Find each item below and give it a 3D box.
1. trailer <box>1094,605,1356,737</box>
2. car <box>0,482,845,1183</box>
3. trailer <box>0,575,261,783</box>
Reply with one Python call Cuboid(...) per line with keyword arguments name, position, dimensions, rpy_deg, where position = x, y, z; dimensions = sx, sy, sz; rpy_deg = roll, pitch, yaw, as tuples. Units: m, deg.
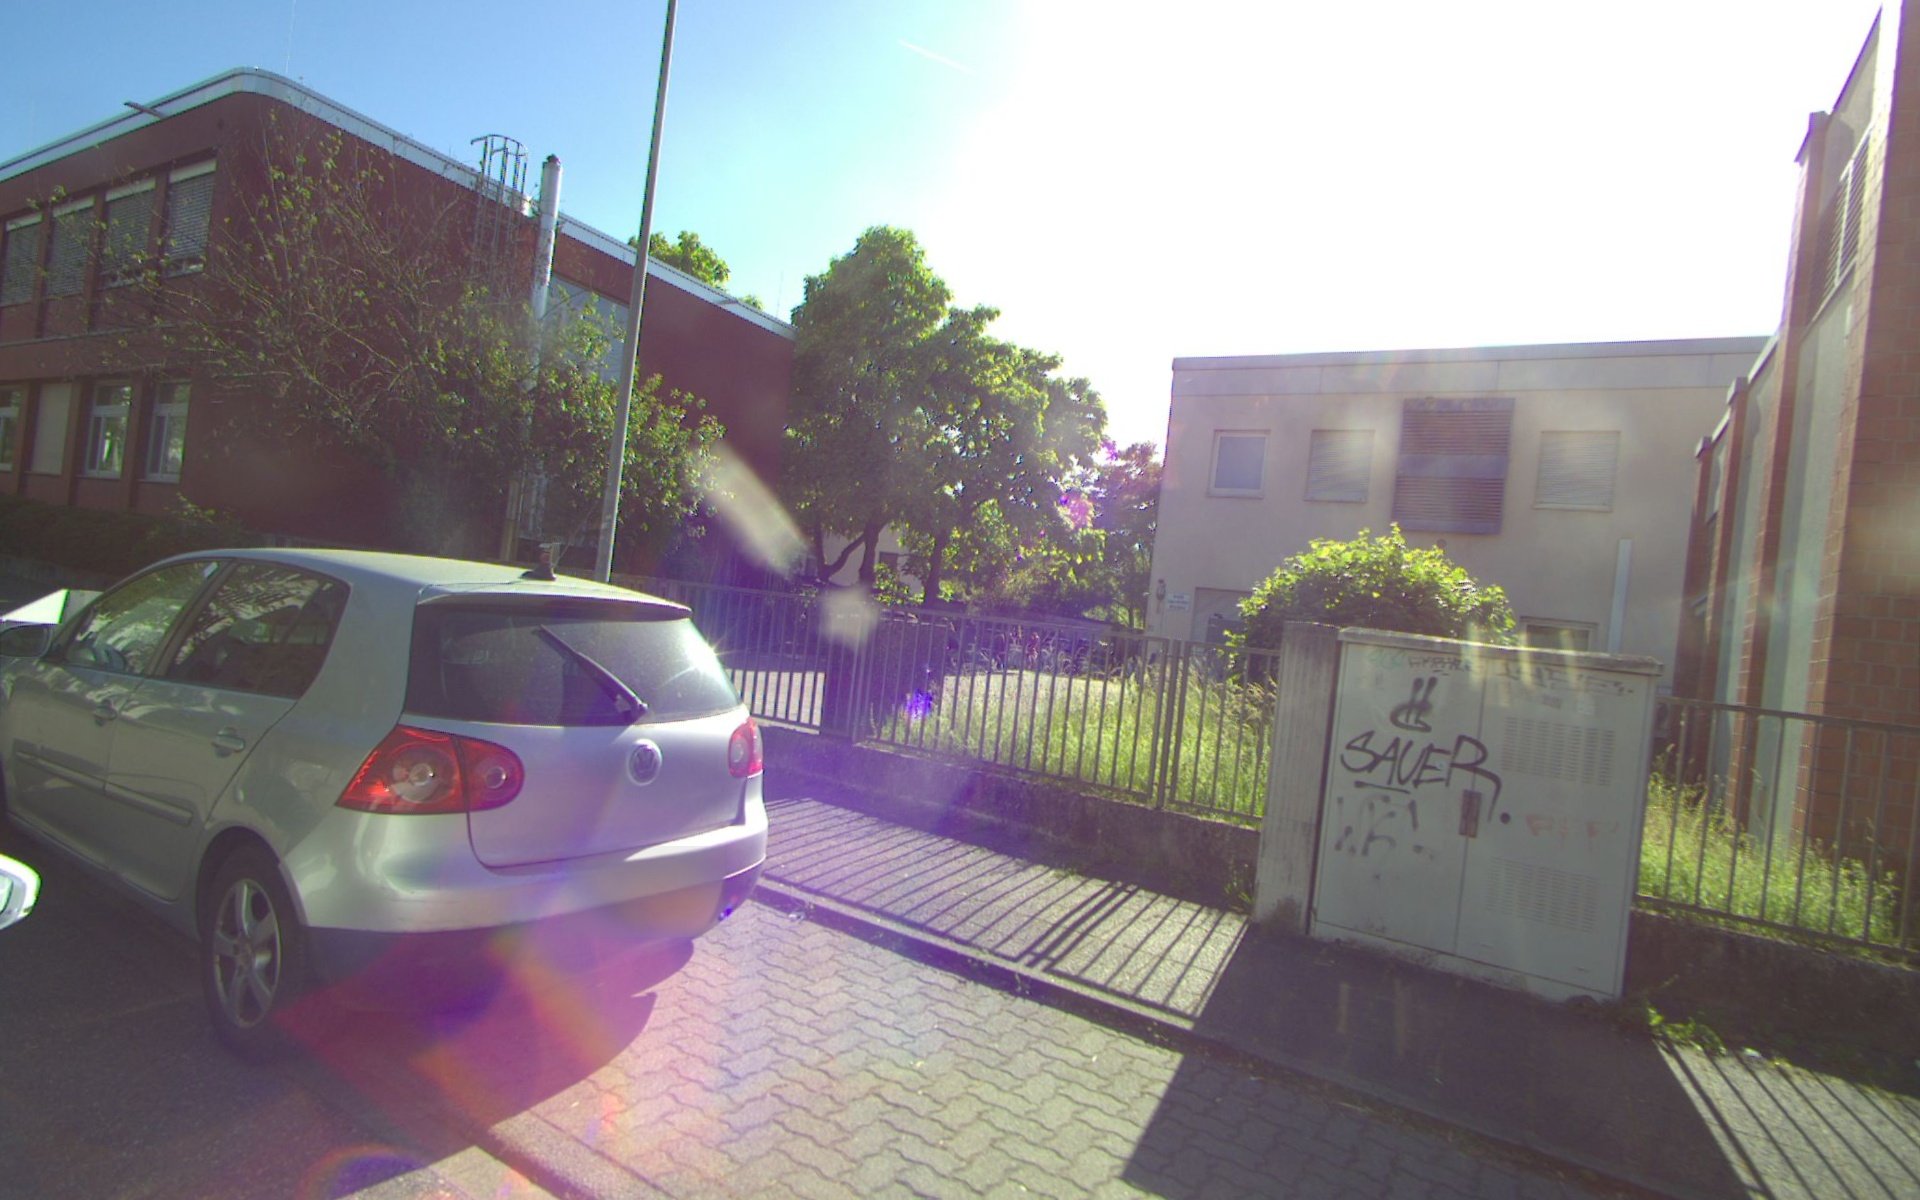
Cuboid(name="trailer", position=(5.428, 1.409, 20.783), dimensions=(4.691, 2.091, 1.996), rpy_deg=(5, -1, 32))
Cuboid(name="car", position=(-2.585, 0.495, 4.158), dimensions=(3.870, 1.580, 1.662), rpy_deg=(7, -1, 33))
Cuboid(name="trailer", position=(-5.537, 0.441, 6.656), dimensions=(1.363, 0.923, 2.911), rpy_deg=(8, -1, -34))
